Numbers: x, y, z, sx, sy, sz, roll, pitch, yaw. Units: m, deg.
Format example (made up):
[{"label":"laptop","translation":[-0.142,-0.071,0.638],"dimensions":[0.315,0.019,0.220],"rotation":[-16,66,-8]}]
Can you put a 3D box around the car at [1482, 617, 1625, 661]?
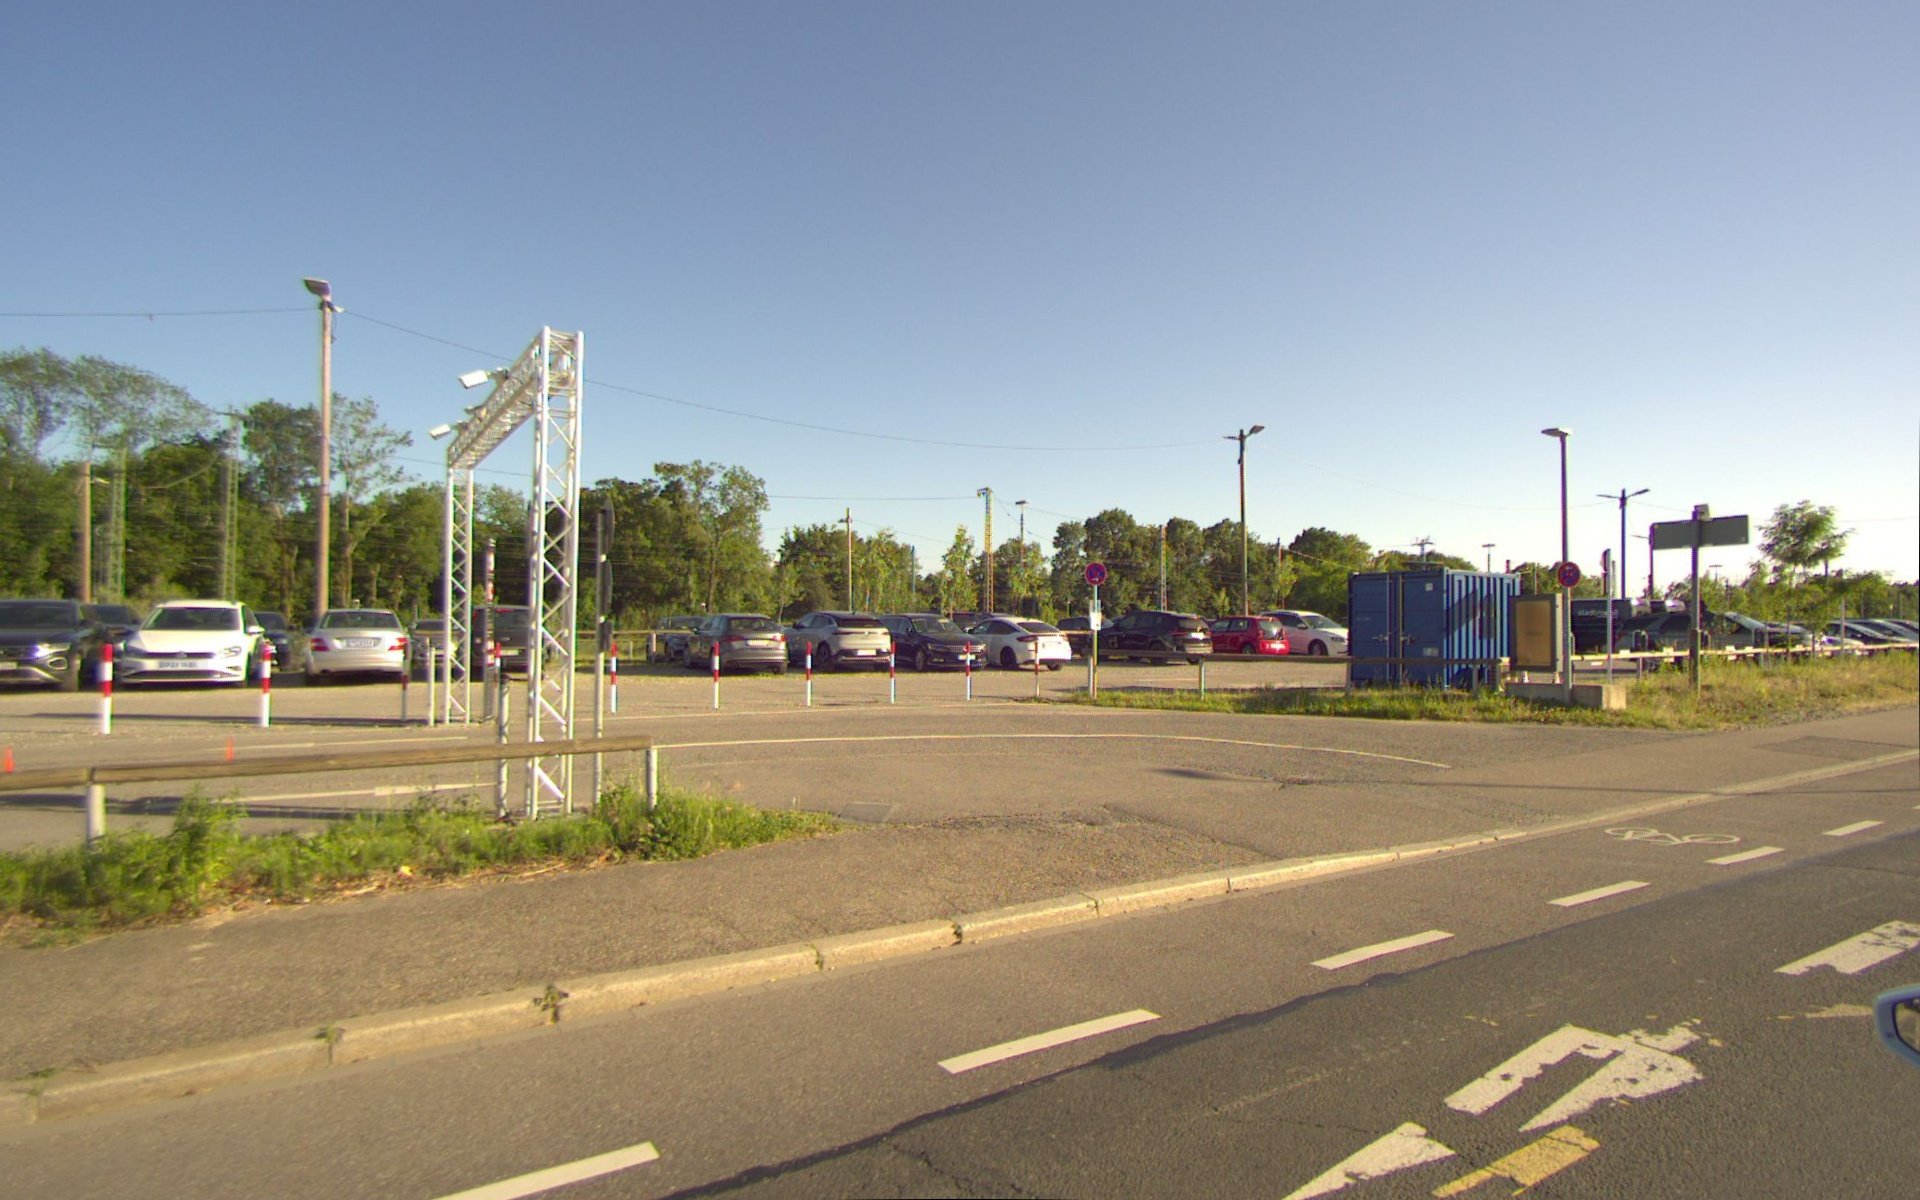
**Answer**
[{"label":"car","translation":[25.555,1.622,43.440],"dimensions":[2.143,1.727,4.900],"rotation":[1,-1,-32]}]

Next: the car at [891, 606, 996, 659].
[{"label":"car","translation":[-0.619,1.043,33.503],"dimensions":[1.857,1.625,3.863],"rotation":[1,-1,-31]}]

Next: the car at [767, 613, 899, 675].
[{"label":"car","translation":[-3.418,1.088,26.350],"dimensions":[1.857,1.438,4.299],"rotation":[1,-1,-32]}]

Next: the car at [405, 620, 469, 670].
[{"label":"car","translation":[-18.149,1.510,34.773],"dimensions":[1.734,1.574,3.814],"rotation":[1,-1,-31]}]

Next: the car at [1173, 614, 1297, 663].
[{"label":"car","translation":[9.304,1.264,34.207],"dimensions":[1.857,1.540,3.862],"rotation":[1,-1,-32]}]

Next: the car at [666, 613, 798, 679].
[{"label":"car","translation":[-5.653,1.058,24.544],"dimensions":[1.857,1.438,4.299],"rotation":[1,-1,-32]}]

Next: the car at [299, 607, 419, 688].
[{"label":"car","translation":[-11.938,0.869,20.077],"dimensions":[1.856,1.412,4.301],"rotation":[1,-1,-30]}]

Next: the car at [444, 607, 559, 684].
[{"label":"car","translation":[-10.038,0.906,21.821],"dimensions":[1.856,1.482,4.301],"rotation":[1,-1,-30]}]

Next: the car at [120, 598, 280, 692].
[{"label":"car","translation":[-14.124,0.763,18.918],"dimensions":[1.856,1.544,4.301],"rotation":[1,-1,-30]}]

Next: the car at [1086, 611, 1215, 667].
[{"label":"car","translation":[5.886,1.177,31.441],"dimensions":[1.857,1.625,3.862],"rotation":[1,-1,-32]}]

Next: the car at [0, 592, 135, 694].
[{"label":"car","translation":[-16.208,0.685,17.691],"dimensions":[1.835,1.606,4.554],"rotation":[1,-1,-30]}]

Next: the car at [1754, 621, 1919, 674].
[{"label":"car","translation":[28.974,1.509,33.062],"dimensions":[1.857,1.578,4.066],"rotation":[1,-1,-32]}]

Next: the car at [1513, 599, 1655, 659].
[{"label":"car","translation":[27.701,1.252,44.740],"dimensions":[2.294,2.492,4.900],"rotation":[1,-1,-32]}]

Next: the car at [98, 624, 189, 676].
[{"label":"car","translation":[-25.283,1.512,31.212],"dimensions":[1.707,1.501,3.588],"rotation":[1,-2,-32]}]

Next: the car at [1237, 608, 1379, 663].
[{"label":"car","translation":[12.048,1.186,35.119],"dimensions":[2.032,1.764,4.563],"rotation":[1,-1,-27]}]

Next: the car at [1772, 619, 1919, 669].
[{"label":"car","translation":[31.199,1.485,34.751],"dimensions":[1.857,1.578,4.518],"rotation":[1,-1,-32]}]

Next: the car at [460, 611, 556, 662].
[{"label":"car","translation":[-11.875,0.911,26.255],"dimensions":[1.857,1.203,3.863],"rotation":[1,-1,-31]}]

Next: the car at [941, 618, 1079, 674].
[{"label":"car","translation":[1.328,1.250,28.613],"dimensions":[1.857,1.394,4.299],"rotation":[1,-1,-32]}]

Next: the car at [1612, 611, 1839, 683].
[{"label":"car","translation":[21.809,1.267,28.847],"dimensions":[1.978,1.859,4.819],"rotation":[1,-1,-32]}]

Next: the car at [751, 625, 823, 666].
[{"label":"car","translation":[-7.235,1.841,41.734],"dimensions":[1.734,1.574,3.703],"rotation":[1,-1,-31]}]

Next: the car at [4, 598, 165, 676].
[{"label":"car","translation":[-19.085,0.754,22.111],"dimensions":[1.856,1.544,4.301],"rotation":[1,-1,-30]}]

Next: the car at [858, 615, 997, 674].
[{"label":"car","translation":[-0.970,1.142,27.074],"dimensions":[1.857,1.394,4.299],"rotation":[1,-1,-32]}]

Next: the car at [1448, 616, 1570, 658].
[{"label":"car","translation":[23.200,1.534,42.612],"dimensions":[1.857,1.639,4.185],"rotation":[1,-1,-32]}]

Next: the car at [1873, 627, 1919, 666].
[{"label":"car","translation":[40.471,1.920,40.996],"dimensions":[1.857,1.578,4.402],"rotation":[1,-1,-32]}]

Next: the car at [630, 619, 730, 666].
[{"label":"car","translation":[-8.099,1.171,28.854],"dimensions":[1.857,1.203,3.843],"rotation":[1,-1,-31]}]

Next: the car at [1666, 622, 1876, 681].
[{"label":"car","translation":[24.361,1.488,30.341],"dimensions":[1.978,1.578,4.570],"rotation":[1,-1,-32]}]
